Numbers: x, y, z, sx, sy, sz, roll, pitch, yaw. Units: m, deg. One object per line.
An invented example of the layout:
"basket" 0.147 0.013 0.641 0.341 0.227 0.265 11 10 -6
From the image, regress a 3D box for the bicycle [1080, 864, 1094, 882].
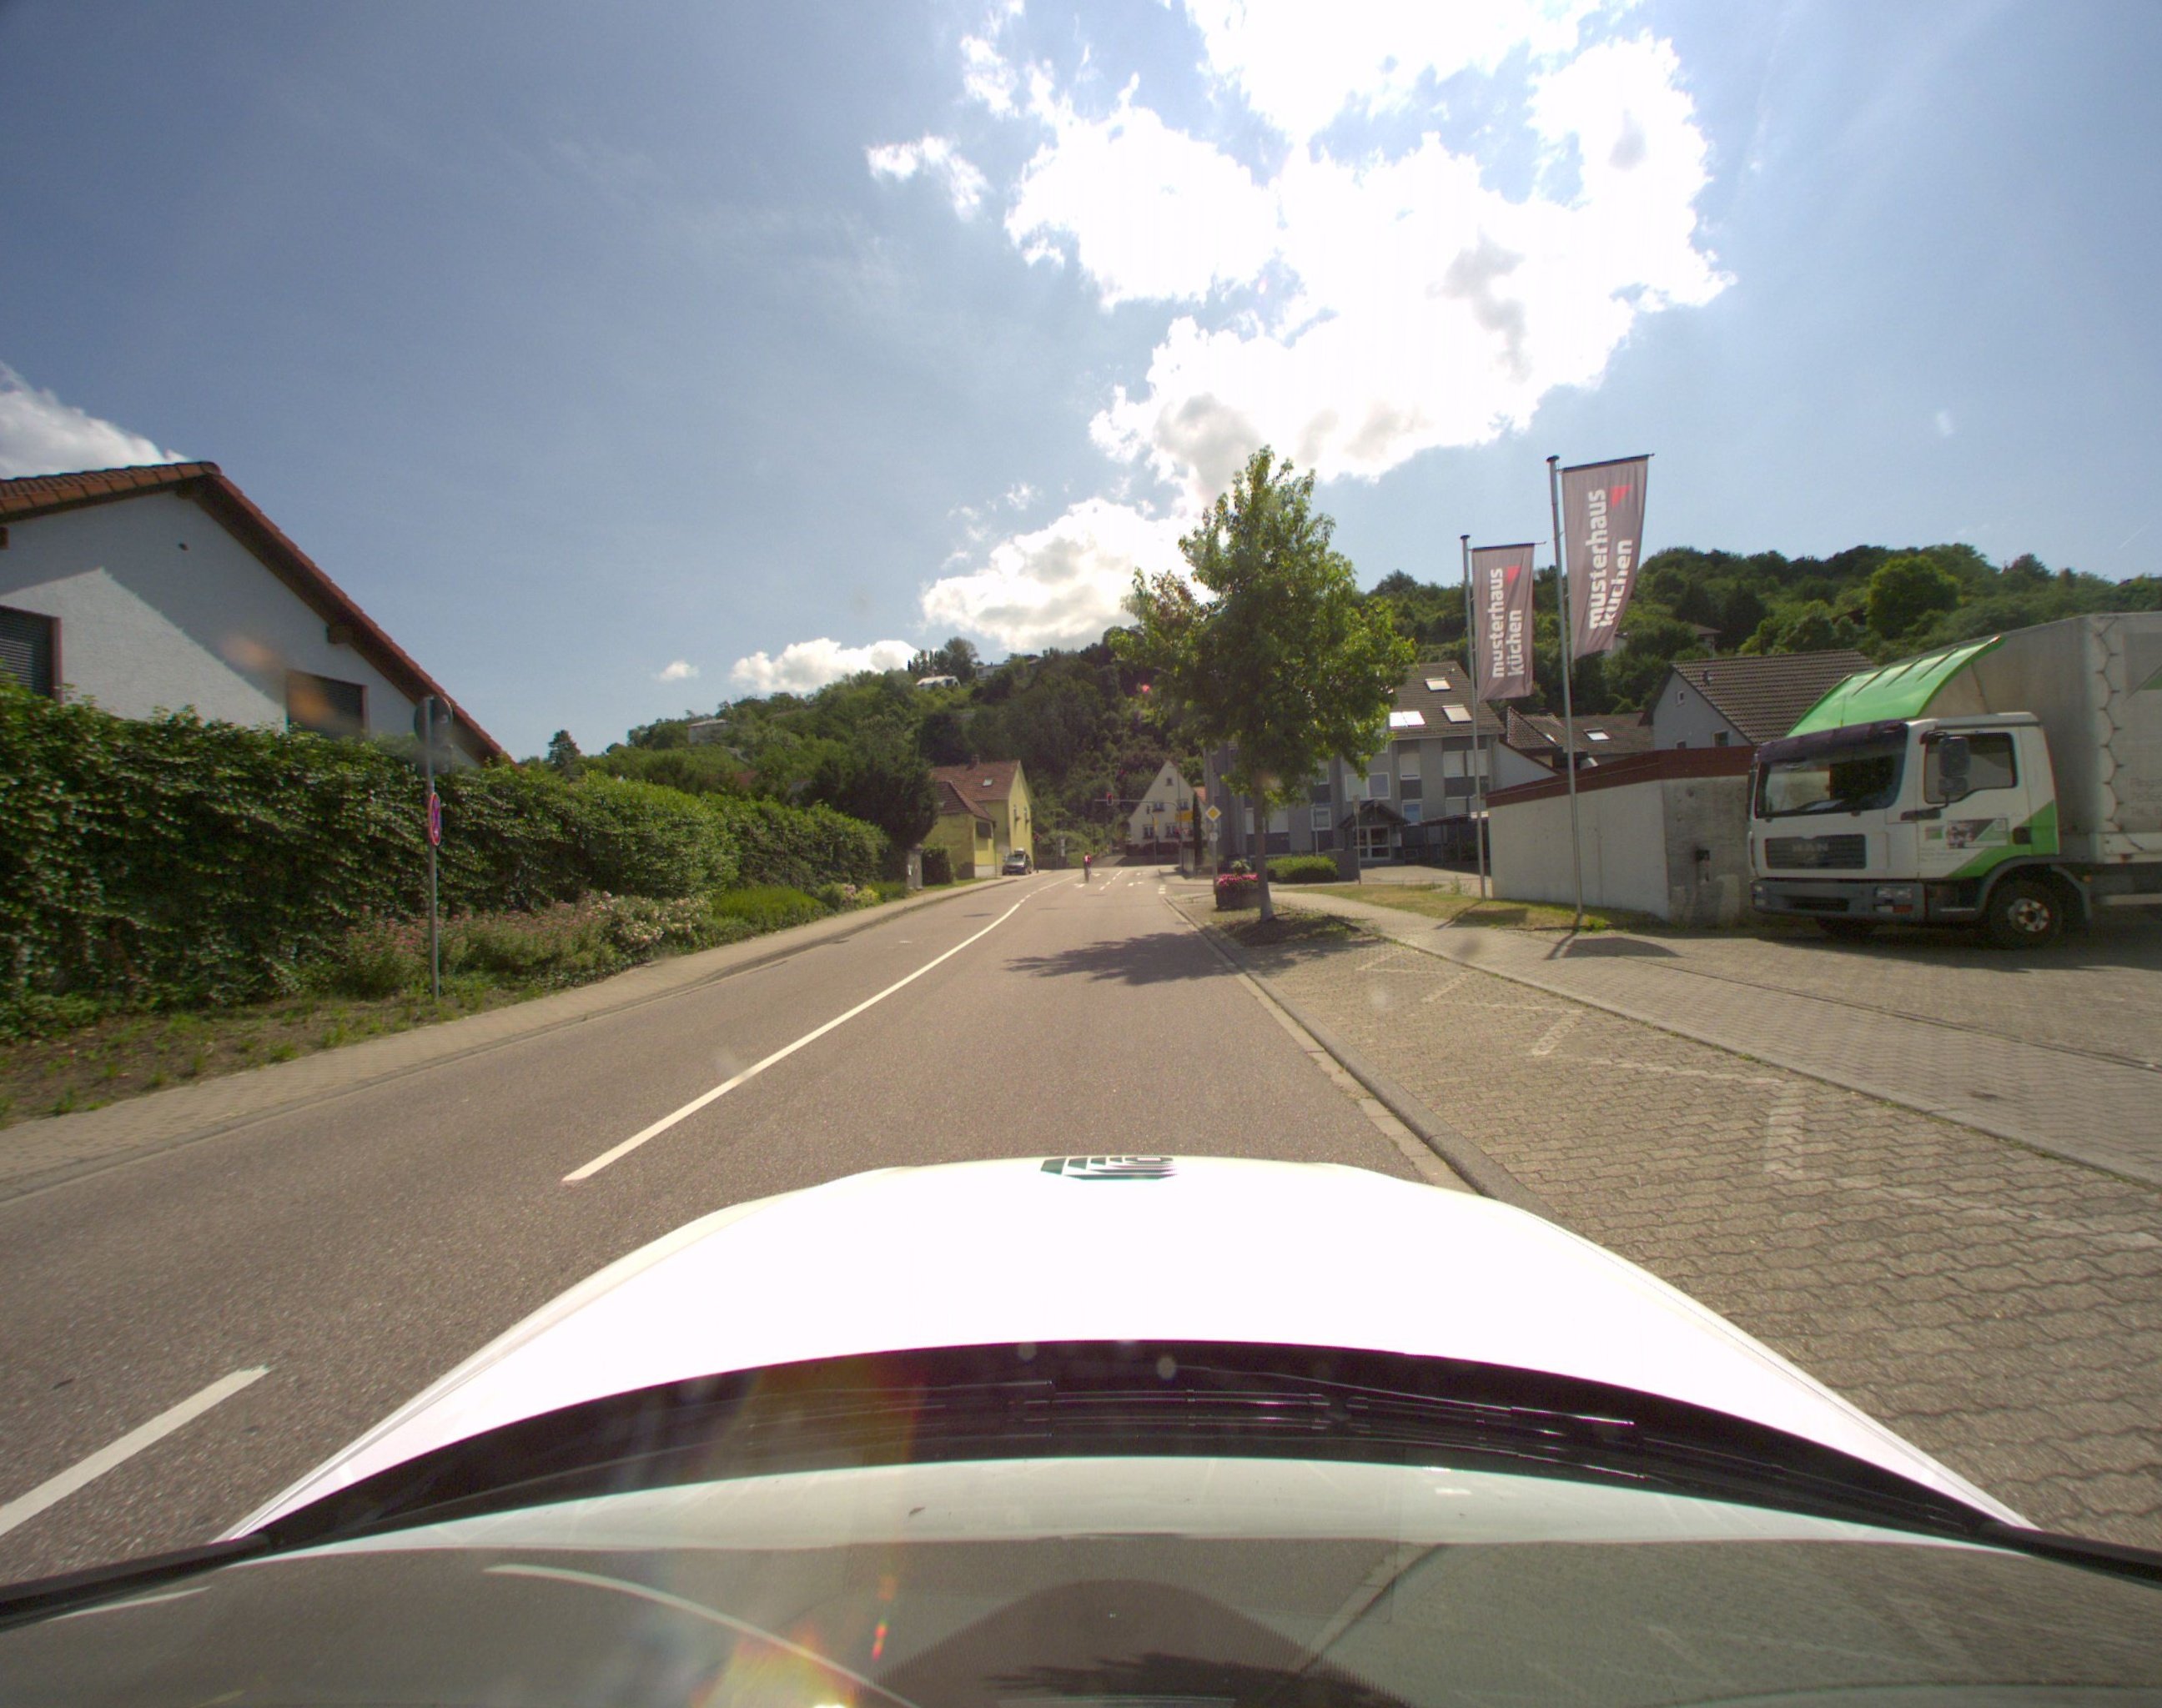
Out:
"bicycle" 0.311 1.015 44.086 0.627 0.905 1.659 -1 0 4

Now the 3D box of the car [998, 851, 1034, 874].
"car" -4.964 0.641 62.846 1.984 1.635 4.636 -1 0 5

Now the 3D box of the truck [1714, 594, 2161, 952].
"truck" 12.675 -0.899 9.587 8.139 3.573 2.679 -2 -2 1

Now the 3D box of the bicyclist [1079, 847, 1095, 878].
"bicyclist" 0.312 0.447 44.055 0.757 1.664 0.870 -1 0 4
